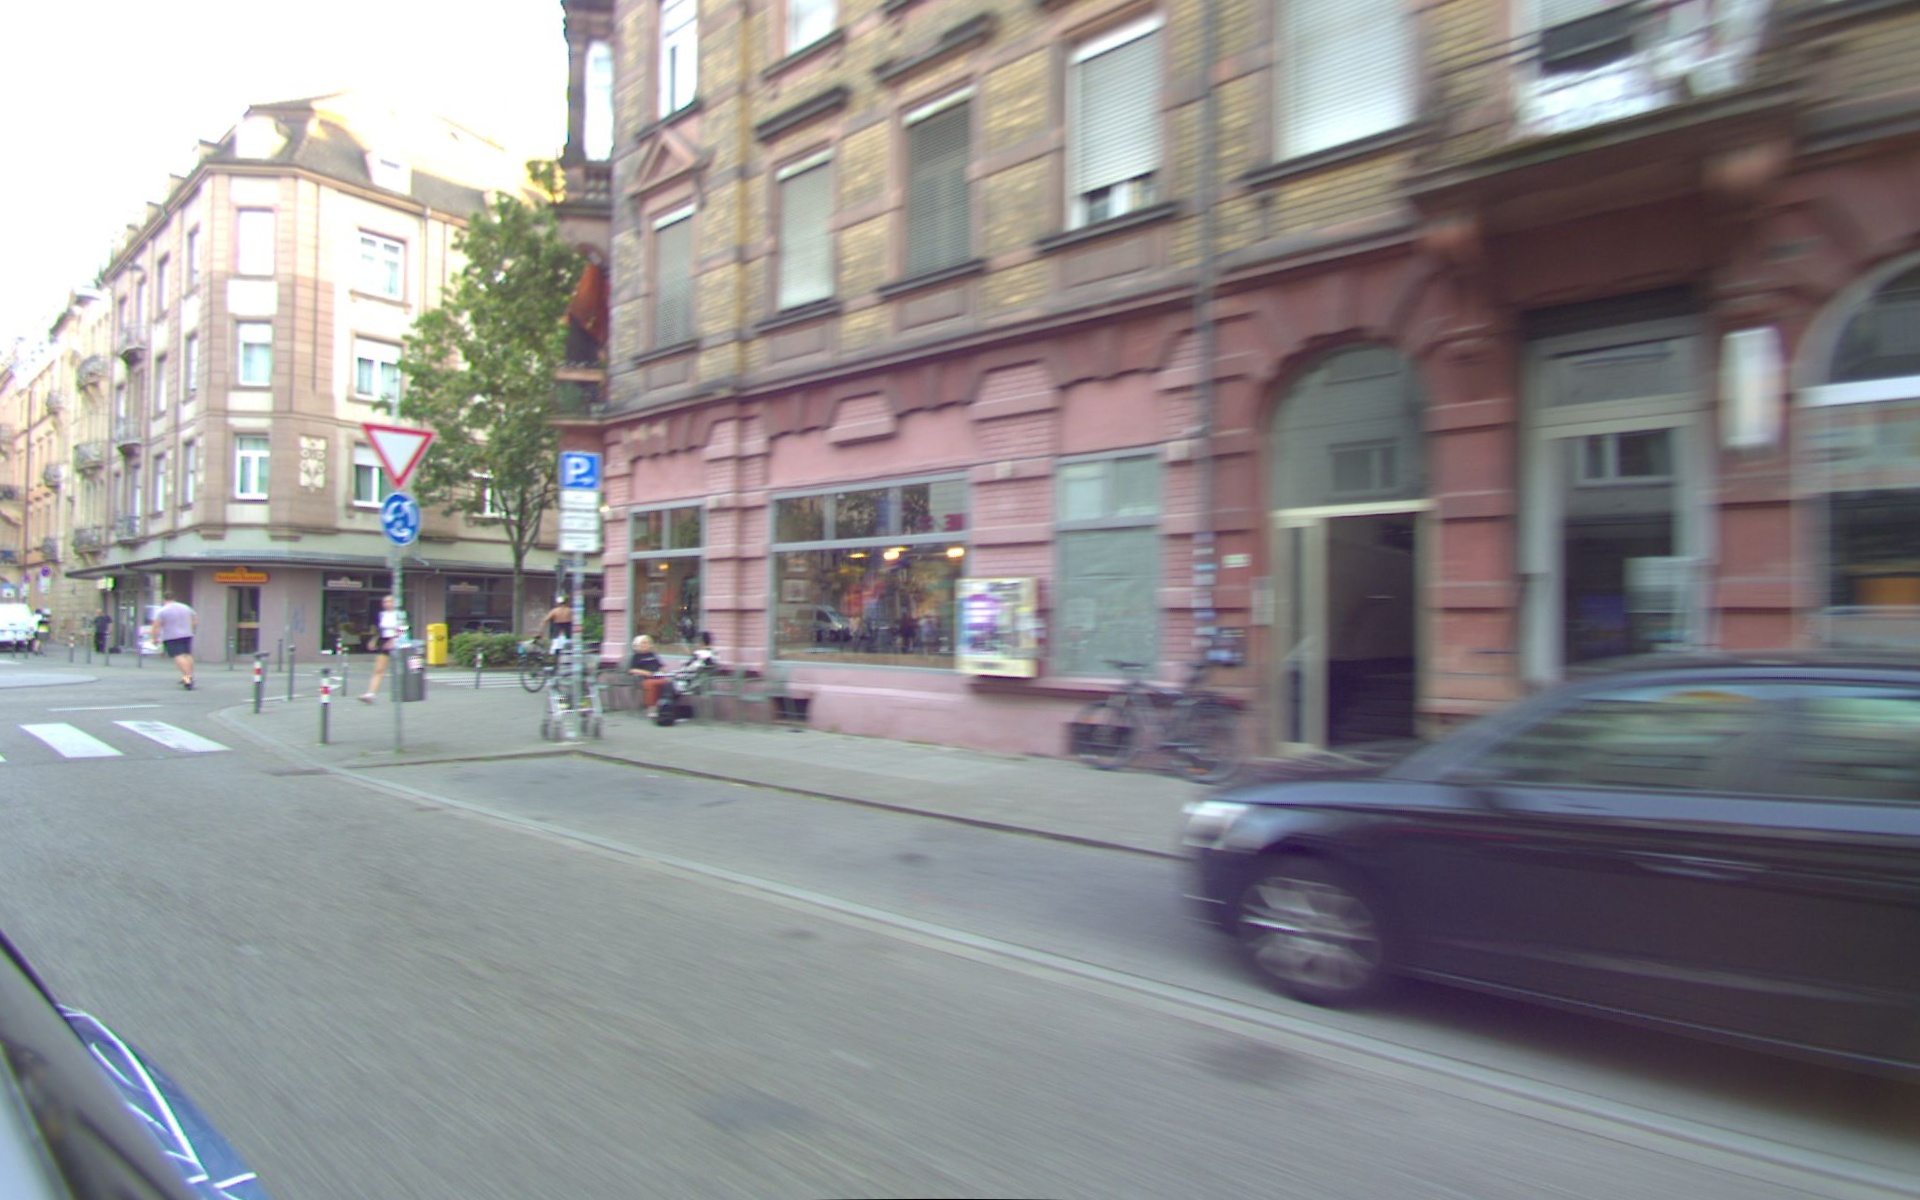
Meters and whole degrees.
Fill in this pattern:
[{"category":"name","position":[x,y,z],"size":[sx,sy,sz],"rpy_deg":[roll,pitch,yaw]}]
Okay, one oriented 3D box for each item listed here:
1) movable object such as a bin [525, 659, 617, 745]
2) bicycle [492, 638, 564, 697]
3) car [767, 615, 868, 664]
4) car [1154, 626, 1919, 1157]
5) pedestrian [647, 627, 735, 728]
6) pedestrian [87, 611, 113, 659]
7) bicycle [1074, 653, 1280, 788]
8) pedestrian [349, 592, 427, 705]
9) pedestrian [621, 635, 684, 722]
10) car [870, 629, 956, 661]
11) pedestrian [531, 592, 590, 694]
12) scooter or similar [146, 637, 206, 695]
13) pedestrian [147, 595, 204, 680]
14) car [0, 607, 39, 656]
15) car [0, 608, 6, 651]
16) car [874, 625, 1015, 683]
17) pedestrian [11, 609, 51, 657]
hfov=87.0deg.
[{"category":"movable object such as a bin","position":[-4.663,1.202,12.131],"size":[0.728,0.922,0.754],"rpy_deg":[1,0,37]},{"category":"bicycle","position":[-8.149,1.248,19.156],"size":[0.604,1.033,1.775],"rpy_deg":[-2,-2,0]},{"category":"car","position":[-5.980,1.637,42.266],"size":[3.998,1.852,1.973],"rpy_deg":[1,-2,41]},{"category":"car","position":[2.826,0.821,3.738],"size":[3.855,1.431,1.675],"rpy_deg":[-1,-1,43]},{"category":"pedestrian","position":[-3.592,1.015,13.527],"size":[0.903,1.264,0.644],"rpy_deg":[-1,1,25]},{"category":"pedestrian","position":[-32.634,1.308,38.416],"size":[0.645,1.792,0.694],"rpy_deg":[0,-2,-32]},{"category":"bicycle","position":[1.912,1.036,9.163],"size":[1.898,1.061,0.420],"rpy_deg":[-1,-2,44]},{"category":"pedestrian","position":[-9.596,0.808,16.966],"size":[1.032,1.825,0.757],"rpy_deg":[0,-3,-38]},{"category":"pedestrian","position":[-4.300,1.076,14.152],"size":[0.791,1.152,0.498],"rpy_deg":[0,-1,42]},{"category":"car","position":[-2.190,2.056,46.710],"size":[3.809,1.322,1.697],"rpy_deg":[1,-2,41]},{"category":"pedestrian","position":[-7.603,0.821,19.297],"size":[0.715,1.869,1.022],"rpy_deg":[-2,-2,0]},{"category":"scooter or similar","position":[-15.637,1.295,20.188],"size":[0.797,1.112,1.173],"rpy_deg":[3,-3,-43]},{"category":"pedestrian","position":[-15.845,0.757,20.434],"size":[0.797,1.673,0.673],"rpy_deg":[3,-3,-44]},{"category":"car","position":[-40.041,1.280,41.914],"size":[4.764,1.973,2.115],"rpy_deg":[-1,-1,39]},{"category":"car","position":[-44.720,1.332,45.803],"size":[4.324,1.918,1.855],"rpy_deg":[-1,-1,41]},{"category":"car","position":[-0.552,1.690,32.988],"size":[4.470,1.637,1.864],"rpy_deg":[1,0,40]},{"category":"pedestrian","position":[-35.073,1.236,38.227],"size":[0.736,1.757,1.217],"rpy_deg":[0,-1,-24]}]
